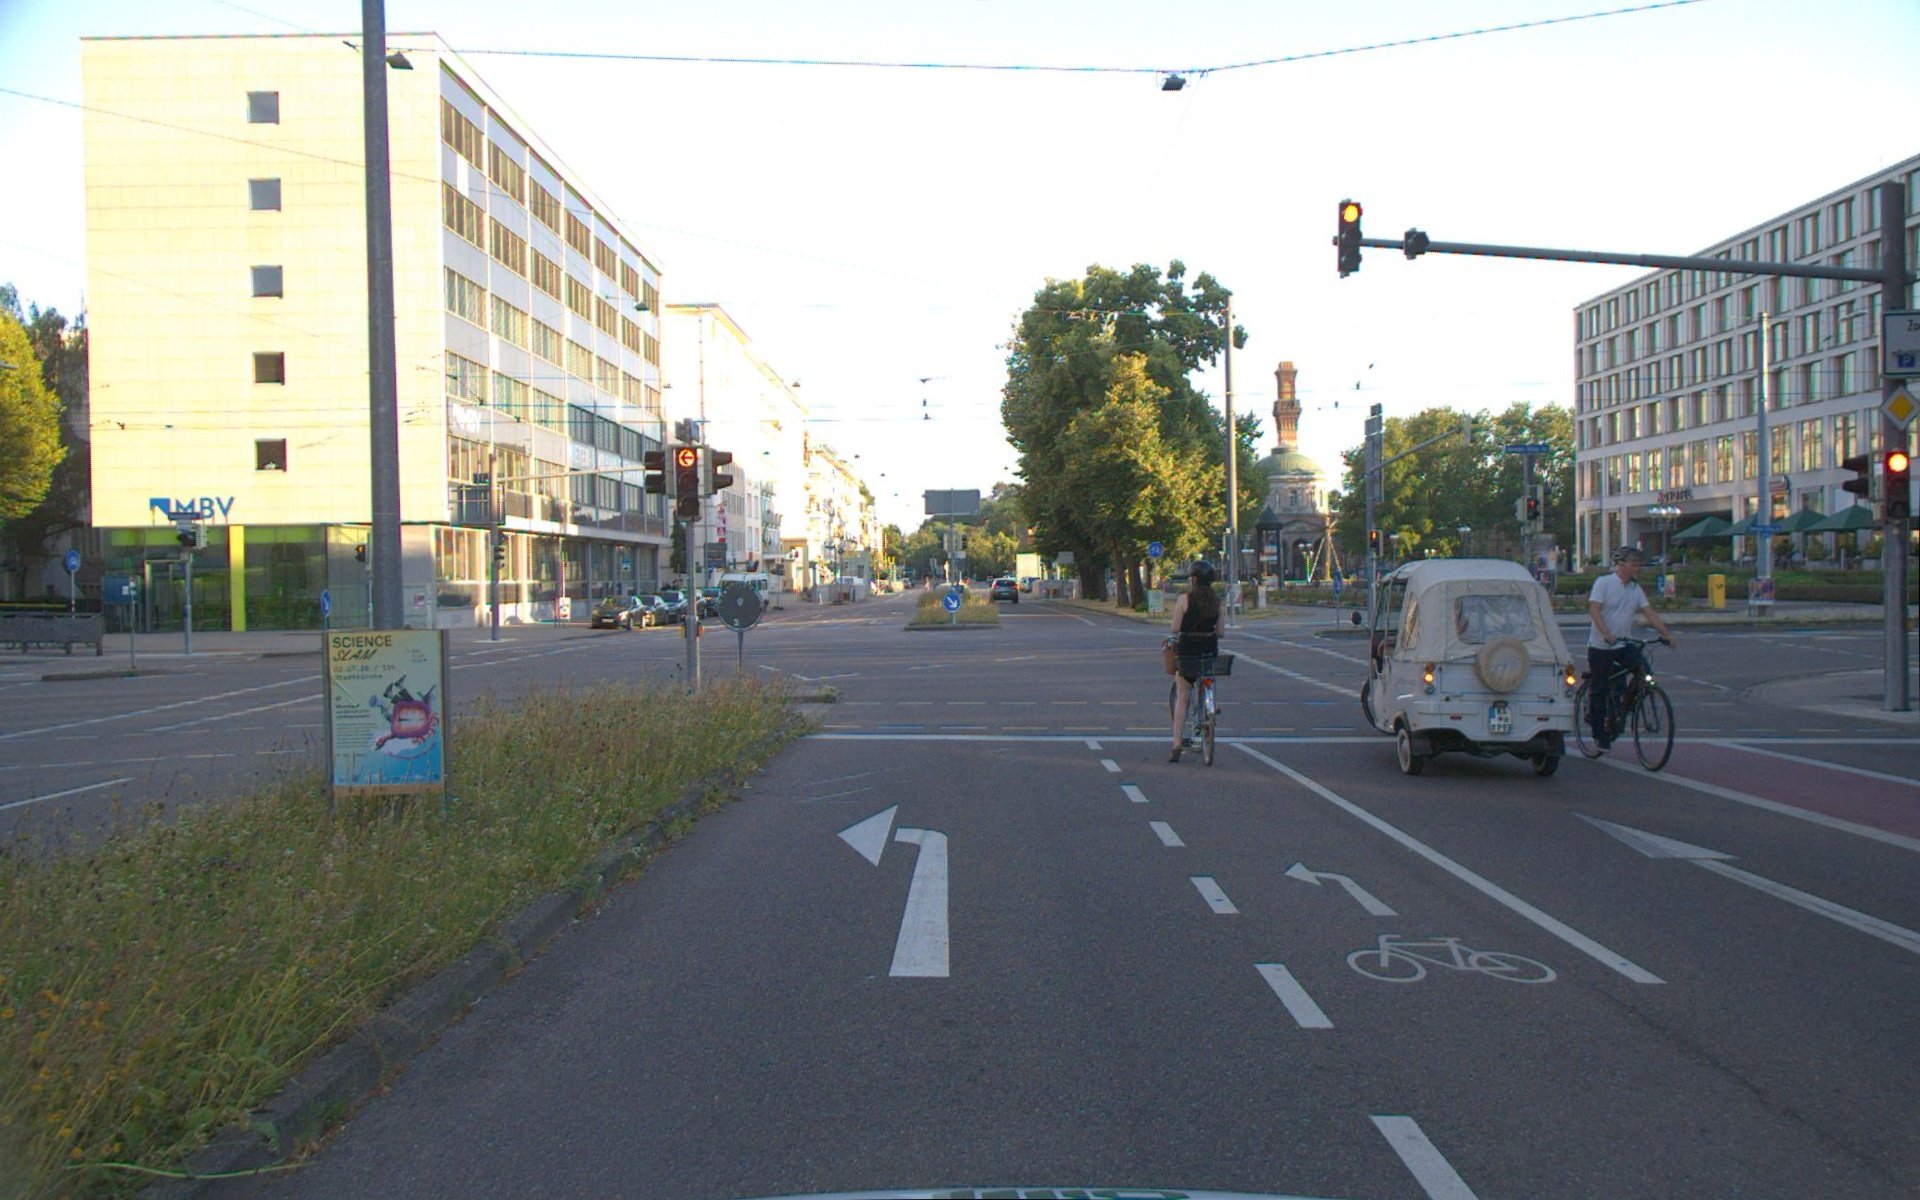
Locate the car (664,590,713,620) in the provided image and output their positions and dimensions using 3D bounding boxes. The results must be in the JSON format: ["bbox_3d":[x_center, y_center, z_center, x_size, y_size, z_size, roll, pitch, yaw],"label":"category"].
[{"bbox_3d":[-14.861,0.319,90.651,1.758,1.501,4.001,-1,-2,4],"label":"car"}]

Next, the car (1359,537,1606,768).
[{"bbox_3d":[4.425,0.376,14.307,1.429,1.811,2.566,0,2,3],"label":"car"}]

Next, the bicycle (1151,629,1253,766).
[{"bbox_3d":[2.146,0.832,14.888,0.624,1.087,2.069,0,1,0],"label":"bicycle"}]

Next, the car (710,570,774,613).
[{"bbox_3d":[-13.622,-0.496,103.643,2.130,2.427,5.994,-2,-2,11],"label":"car"}]

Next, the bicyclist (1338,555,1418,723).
[{"bbox_3d":[4.407,0.404,17.426,0.730,1.722,0.715,-1,0,18],"label":"bicyclist"}]

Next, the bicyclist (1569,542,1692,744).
[{"bbox_3d":[5.920,0.365,14.631,0.747,1.722,0.748,-1,0,-1],"label":"bicyclist"}]

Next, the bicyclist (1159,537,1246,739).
[{"bbox_3d":[2.128,0.321,14.570,0.615,1.722,0.748,-1,0,-1],"label":"bicyclist"}]

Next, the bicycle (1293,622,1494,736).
[{"bbox_3d":[4.551,0.805,17.356,1.973,1.087,0.731,1,1,20],"label":"bicycle"}]

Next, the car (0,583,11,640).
[{"bbox_3d":[-35.664,0.448,58.411,1.953,2.049,4.000,-1,1,-1],"label":"car"}]

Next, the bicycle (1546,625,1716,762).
[{"bbox_3d":[5.931,0.794,14.733,0.713,1.087,1.903,1,1,-1],"label":"bicycle"}]

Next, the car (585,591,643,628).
[{"bbox_3d":[-15.433,0.450,73.996,1.759,1.501,3.999,-1,-2,0],"label":"car"}]

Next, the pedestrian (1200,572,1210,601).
[{"bbox_3d":[14.111,-0.783,95.227,0.498,1.697,0.531,-1,0,-1],"label":"pedestrian"}]

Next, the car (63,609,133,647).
[{"bbox_3d":[-26.452,0.842,50.799,0.836,1.092,2.521,-1,1,0],"label":"car"}]

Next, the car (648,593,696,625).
[{"bbox_3d":[-14.675,0.474,84.347,1.759,1.501,3.999,-1,-2,0],"label":"car"}]

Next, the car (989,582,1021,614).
[{"bbox_3d":[2.963,-0.164,110.262,1.953,2.049,4.000,-1,1,-1],"label":"car"}]
